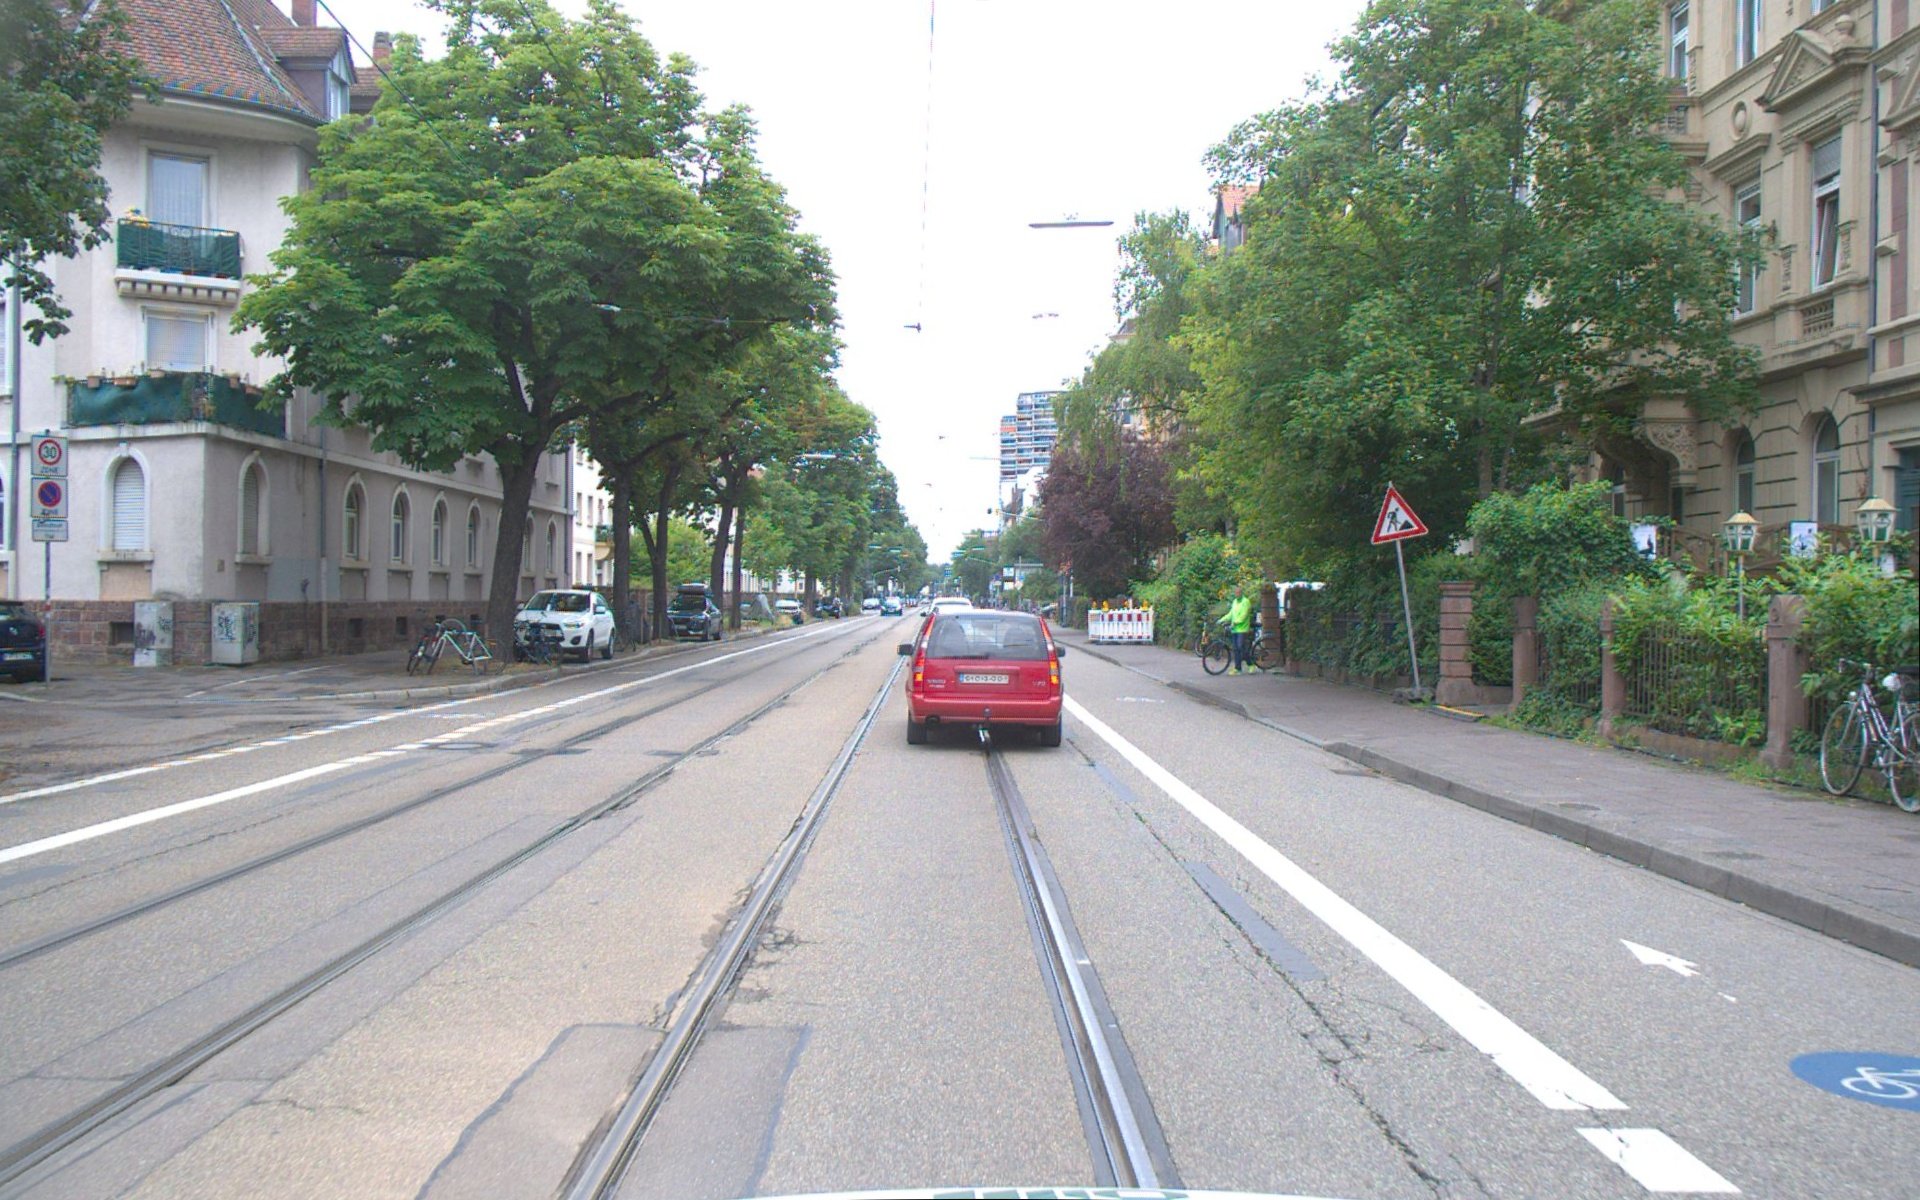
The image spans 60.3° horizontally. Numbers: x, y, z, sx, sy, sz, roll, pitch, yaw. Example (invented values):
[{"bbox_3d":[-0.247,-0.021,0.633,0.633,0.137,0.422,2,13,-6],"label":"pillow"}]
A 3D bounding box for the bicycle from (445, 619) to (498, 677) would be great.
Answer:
[{"bbox_3d":[-8.663,0.840,29.367,0.473,0.975,1.398,0,0,1],"label":"bicycle"}]

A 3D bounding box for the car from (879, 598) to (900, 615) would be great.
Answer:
[{"bbox_3d":[-5.903,0.534,138.625,1.720,1.404,4.025,0,0,-2],"label":"car"}]

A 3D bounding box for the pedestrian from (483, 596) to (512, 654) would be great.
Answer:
[{"bbox_3d":[-12.000,0.643,42.910,0.553,1.493,0.722,0,0,-1],"label":"pedestrian"}]

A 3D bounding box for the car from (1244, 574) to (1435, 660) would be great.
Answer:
[{"bbox_3d":[8.554,0.378,37.514,3.905,1.891,1.809,0,0,-1],"label":"car"}]

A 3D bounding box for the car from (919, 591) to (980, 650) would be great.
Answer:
[{"bbox_3d":[-0.264,0.595,48.920,1.683,1.653,3.941,1,0,1],"label":"car"}]

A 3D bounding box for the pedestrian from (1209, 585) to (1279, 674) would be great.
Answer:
[{"bbox_3d":[5.745,0.591,33.548,1.204,1.763,1.018,-1,0,-2],"label":"pedestrian"}]

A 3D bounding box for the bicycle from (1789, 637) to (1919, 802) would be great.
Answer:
[{"bbox_3d":[6.575,0.820,11.865,0.295,1.060,1.848,0,0,-1],"label":"bicycle"}]

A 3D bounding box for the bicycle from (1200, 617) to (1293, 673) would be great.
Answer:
[{"bbox_3d":[5.868,0.925,33.924,1.804,1.094,0.606,-1,0,-2],"label":"bicycle"}]

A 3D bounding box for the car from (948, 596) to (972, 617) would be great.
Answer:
[{"bbox_3d":[-0.007,0.499,128.575,1.706,1.634,3.998,1,0,-3],"label":"car"}]

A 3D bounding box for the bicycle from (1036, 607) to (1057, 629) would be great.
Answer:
[{"bbox_3d":[6.042,1.264,115.668,0.898,1.533,2.382,1,0,16],"label":"bicycle"}]

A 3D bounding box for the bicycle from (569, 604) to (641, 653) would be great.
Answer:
[{"bbox_3d":[-9.420,0.741,43.904,1.706,1.213,0.653,2,0,14],"label":"bicycle"}]

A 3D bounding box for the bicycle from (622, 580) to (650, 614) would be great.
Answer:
[{"bbox_3d":[-13.520,-0.117,69.091,0.776,1.406,2.140,0,0,0],"label":"bicycle"}]

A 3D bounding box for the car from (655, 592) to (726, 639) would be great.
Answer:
[{"bbox_3d":[-9.352,0.526,57.594,1.741,1.537,4.237,1,0,0],"label":"car"}]

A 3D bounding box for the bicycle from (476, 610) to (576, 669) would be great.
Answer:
[{"bbox_3d":[-9.025,0.808,34.425,1.883,1.140,0.624,2,0,-1],"label":"bicycle"}]

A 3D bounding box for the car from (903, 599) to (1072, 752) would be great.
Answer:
[{"bbox_3d":[0.253,0.753,18.385,1.655,1.466,3.742,2,0,-1],"label":"car"}]

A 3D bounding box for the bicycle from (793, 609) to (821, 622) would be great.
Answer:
[{"bbox_3d":[-10.146,1.032,109.696,1.713,0.858,0.684,1,0,0],"label":"bicycle"}]

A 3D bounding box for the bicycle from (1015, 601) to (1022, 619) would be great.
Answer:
[{"bbox_3d":[4.799,0.791,135.594,0.540,1.424,1.733,0,0,0],"label":"bicycle"}]

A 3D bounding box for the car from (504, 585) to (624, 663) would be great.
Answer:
[{"bbox_3d":[-9.161,0.521,38.573,1.859,1.684,4.224,1,0,-2],"label":"car"}]

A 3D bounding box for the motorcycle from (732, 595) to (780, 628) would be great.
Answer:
[{"bbox_3d":[-9.805,0.551,79.349,2.225,1.538,0.924,0,-2,35],"label":"motorcycle"}]

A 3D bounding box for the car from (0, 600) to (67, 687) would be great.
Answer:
[{"bbox_3d":[-16.354,0.662,26.442,3.673,1.330,1.741,0,0,23],"label":"car"}]

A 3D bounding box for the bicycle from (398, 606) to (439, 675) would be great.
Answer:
[{"bbox_3d":[-9.779,0.713,29.920,0.664,1.155,1.927,0,1,-17],"label":"bicycle"}]

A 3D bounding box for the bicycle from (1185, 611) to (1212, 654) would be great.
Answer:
[{"bbox_3d":[6.141,0.826,42.640,0.469,1.063,1.531,0,0,0],"label":"bicycle"}]

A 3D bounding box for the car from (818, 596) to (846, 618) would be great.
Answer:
[{"bbox_3d":[-9.640,0.523,124.562,1.813,1.590,3.942,1,0,-1],"label":"car"}]
